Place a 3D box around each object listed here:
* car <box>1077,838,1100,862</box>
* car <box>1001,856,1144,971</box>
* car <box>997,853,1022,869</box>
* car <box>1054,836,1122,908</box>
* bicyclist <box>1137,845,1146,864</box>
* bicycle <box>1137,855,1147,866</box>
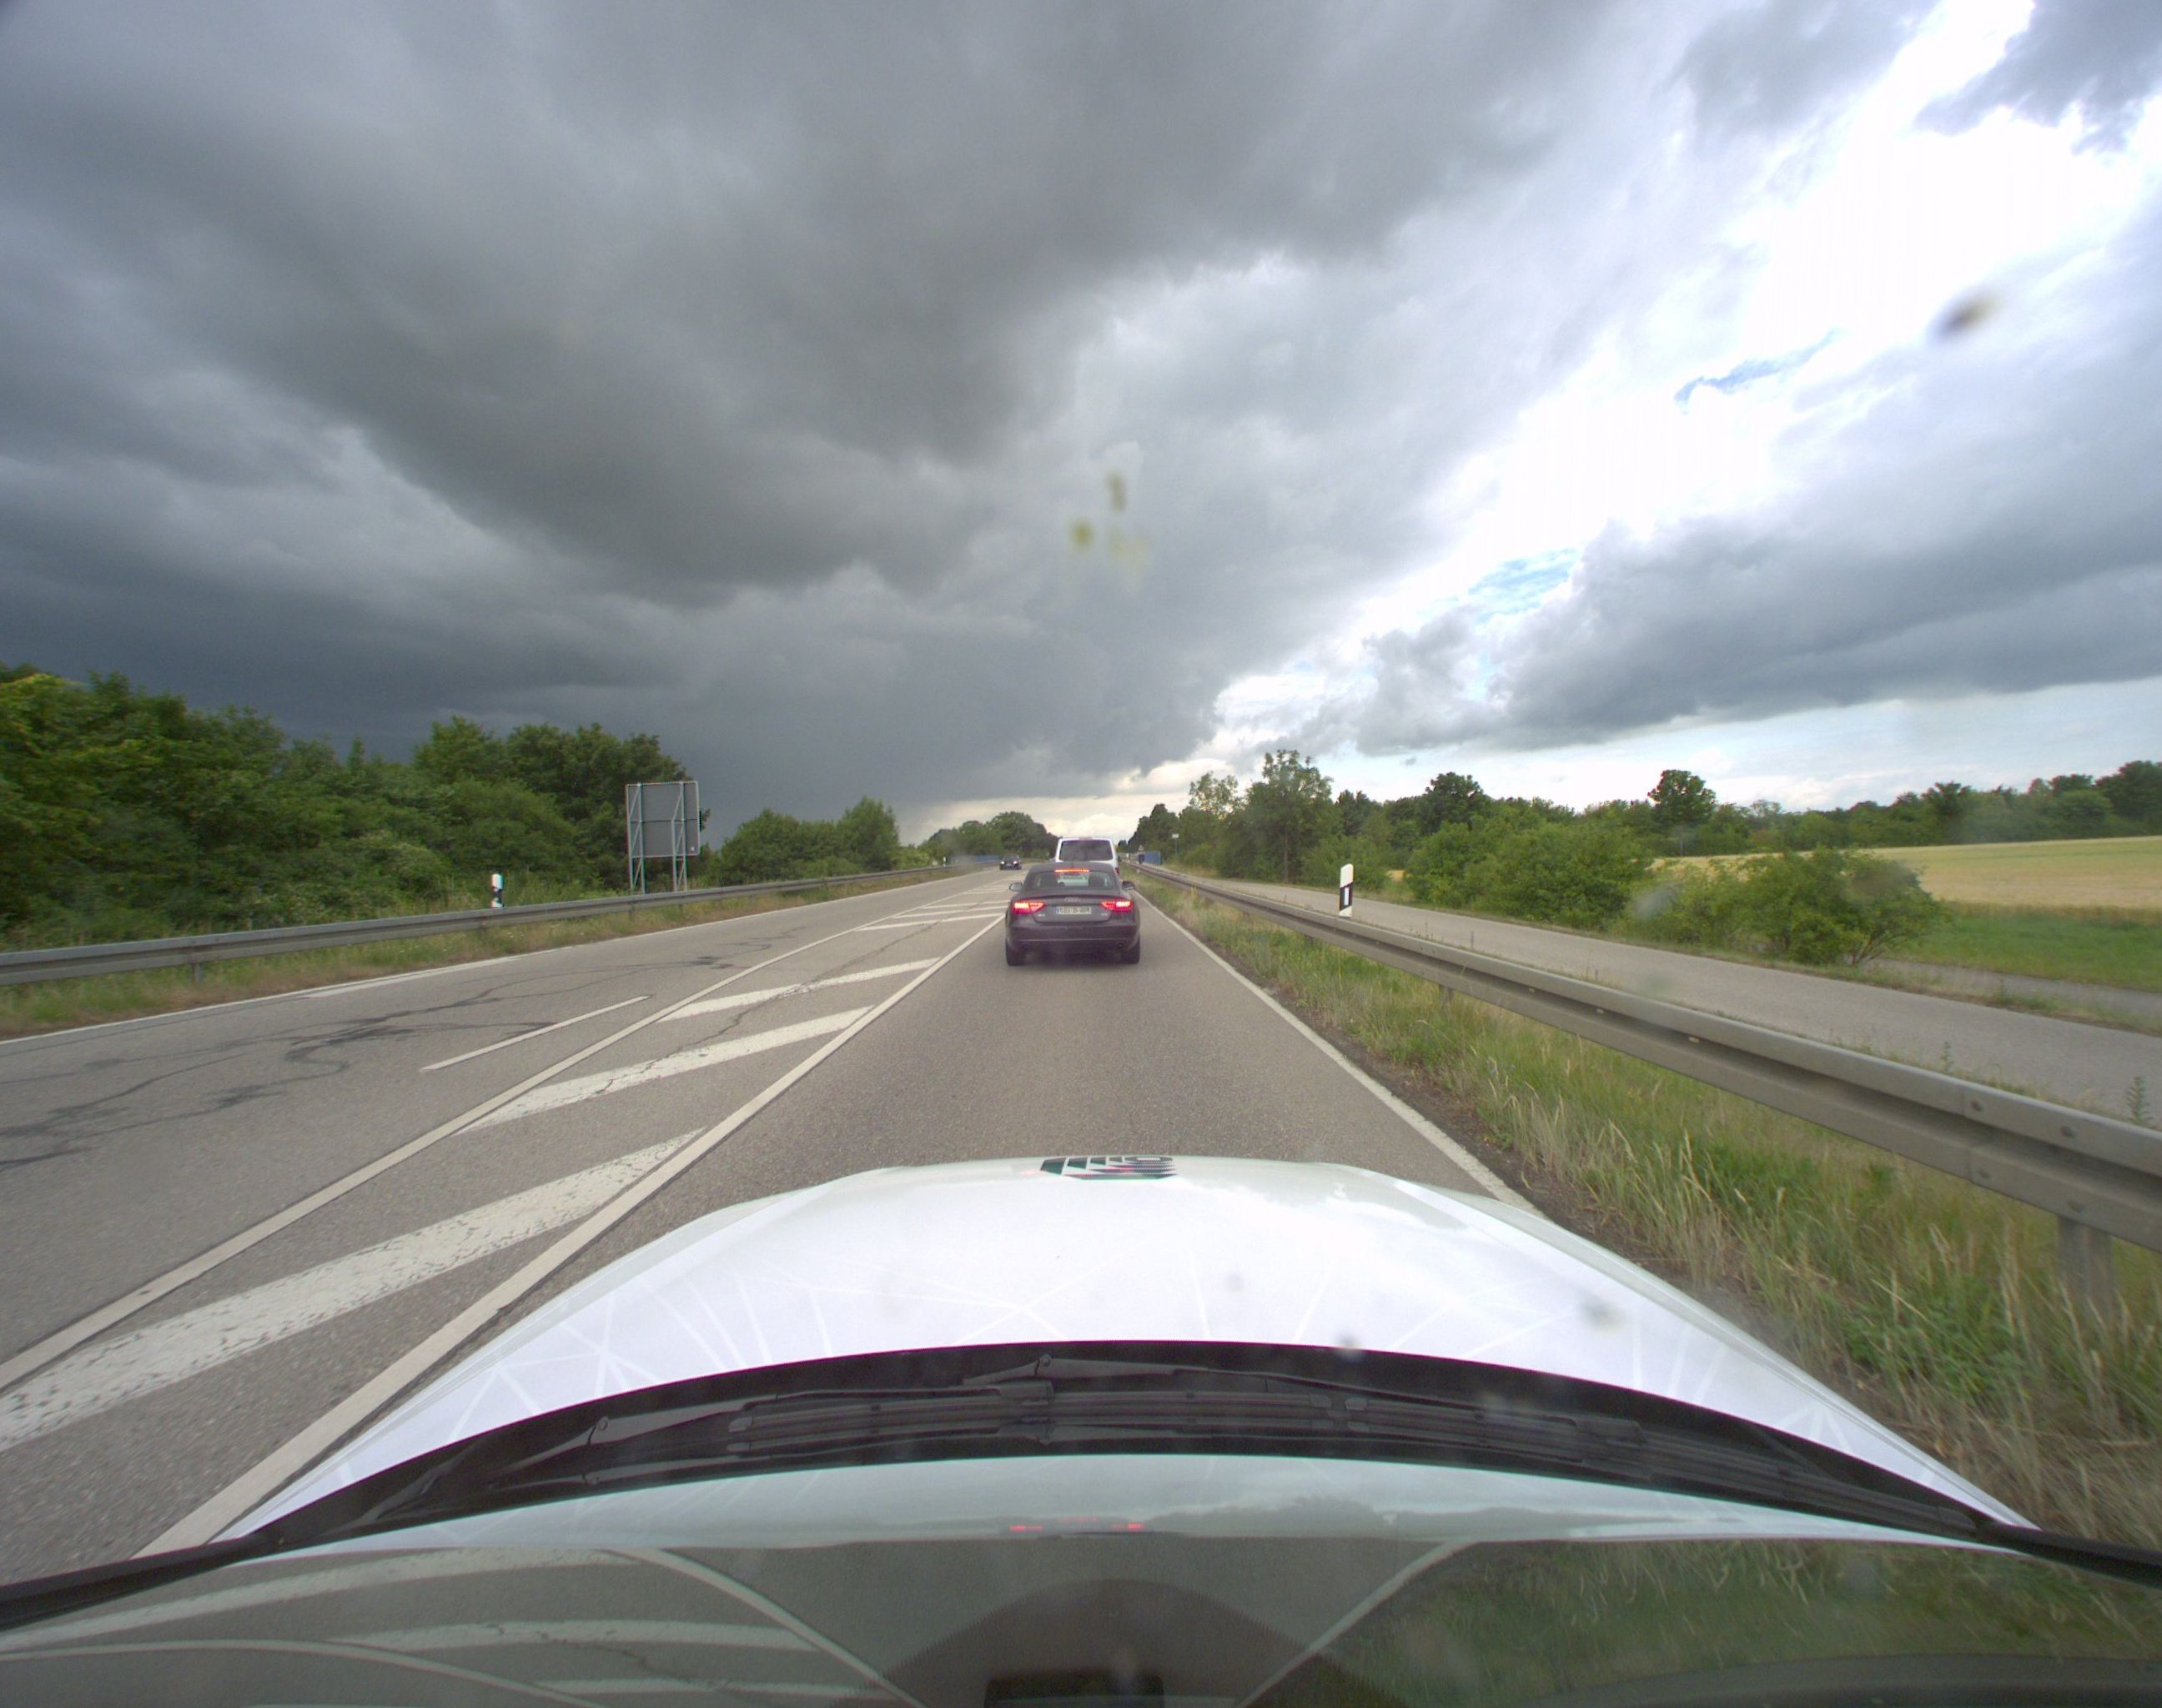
[{"bbox_3d":[0.852,-0.440,90.182,2.439,2.504,5.042,-1,0,1],"label":"car"},{"bbox_3d":[-0.087,0.759,12.178,1.780,1.424,4.000,-1,-1,0],"label":"car"},{"bbox_3d":[-6.556,0.631,75.041,1.857,1.376,3.999,-2,0,0],"label":"car"},{"bbox_3d":[0.192,0.487,23.496,1.780,1.890,4.000,-1,-1,0],"label":"car"},{"bbox_3d":[5.229,0.051,70.354,0.645,1.645,0.866,-2,0,0],"label":"bicyclist"},{"bbox_3d":[5.249,0.556,70.307,0.663,0.920,1.830,-2,0,0],"label":"bicycle"}]
